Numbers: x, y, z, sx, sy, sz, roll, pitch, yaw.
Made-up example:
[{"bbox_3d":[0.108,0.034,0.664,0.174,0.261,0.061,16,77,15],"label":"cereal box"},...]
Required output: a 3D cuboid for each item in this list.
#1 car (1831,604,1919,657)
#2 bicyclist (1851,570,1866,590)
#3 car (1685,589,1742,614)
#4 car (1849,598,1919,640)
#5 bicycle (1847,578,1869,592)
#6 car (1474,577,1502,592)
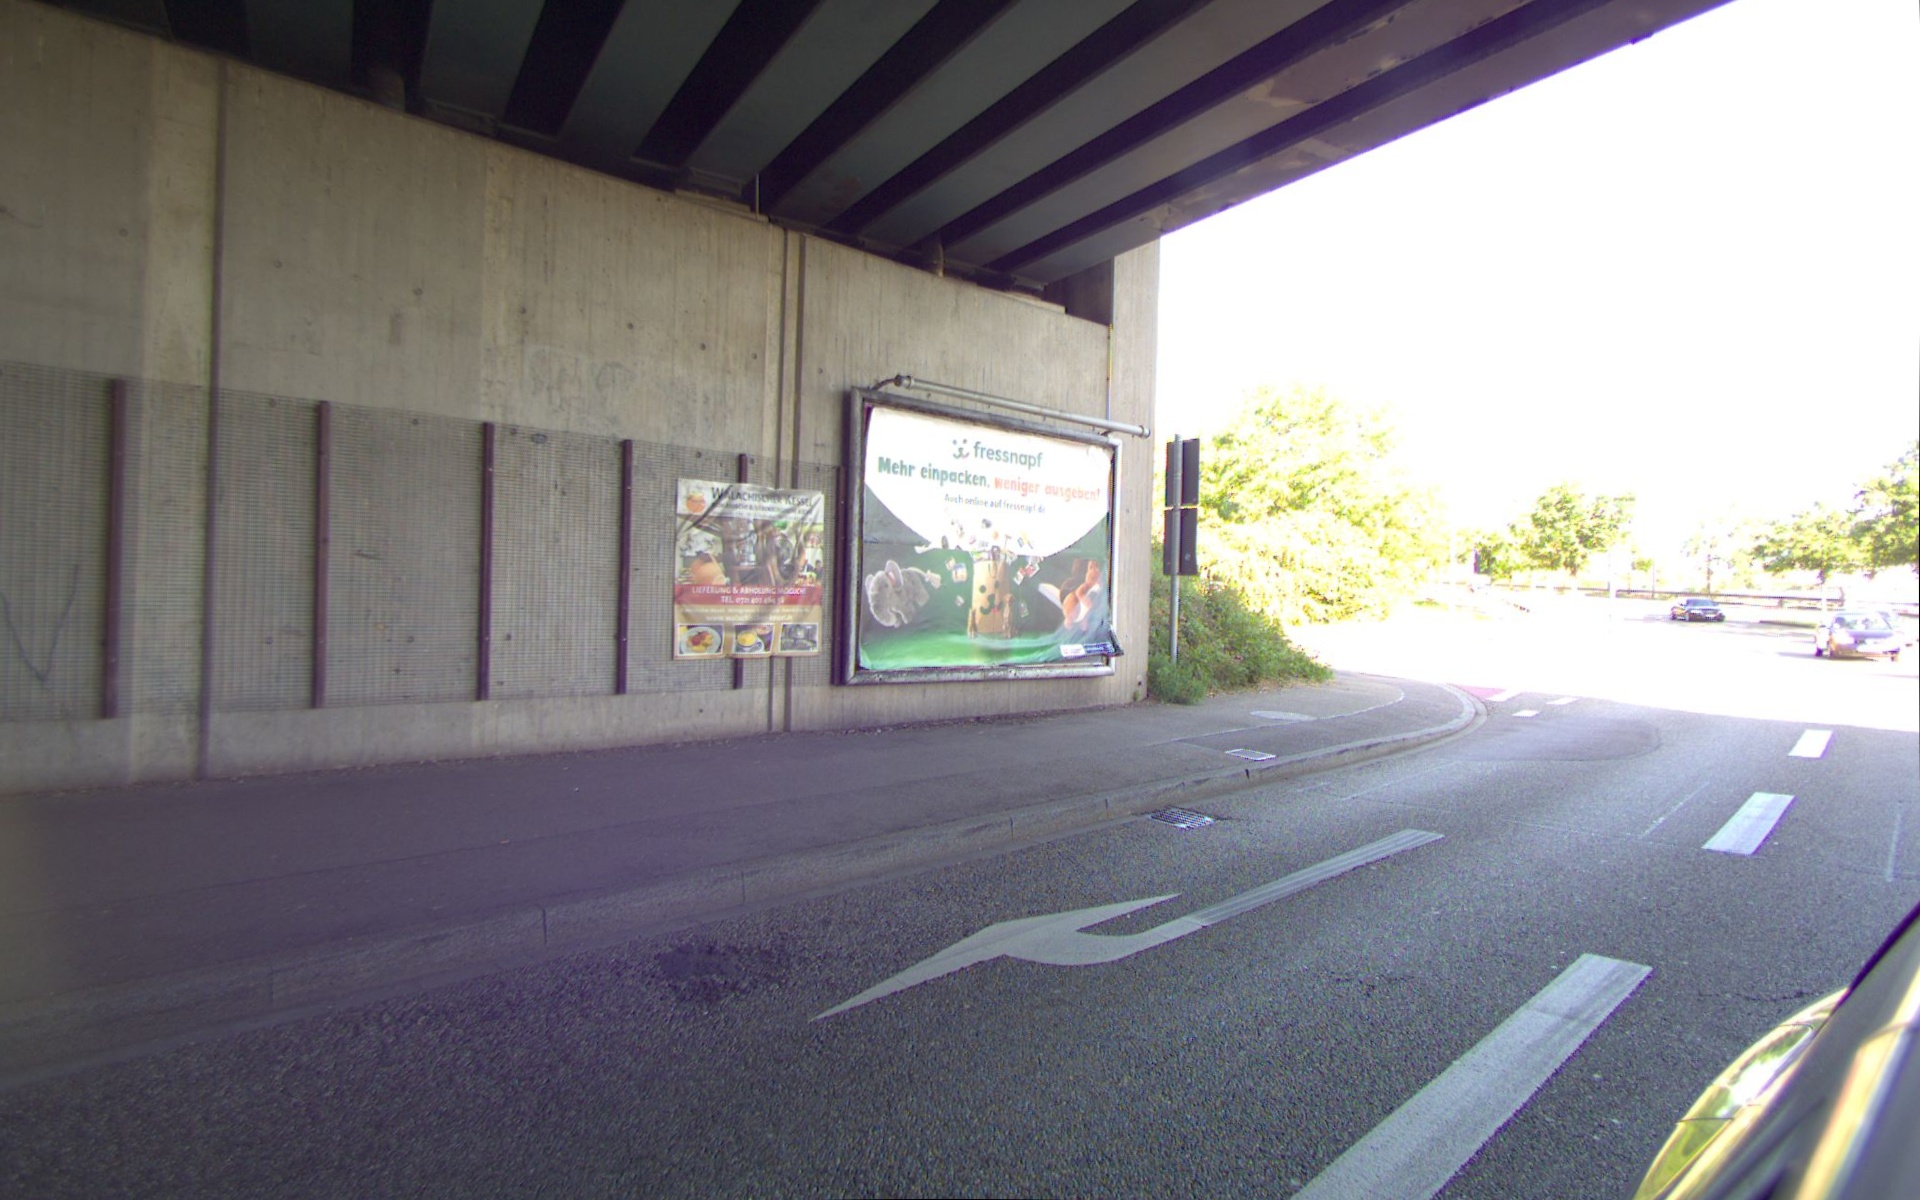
[{"bbox_3d":[27.952,0.872,31.010,1.730,1.438,4.259,1,1,38],"label":"car"},{"bbox_3d":[66.493,-1.472,74.896,0.585,1.445,0.705,0,0,17],"label":"bicyclist"},{"bbox_3d":[45.995,0.078,61.864,1.837,1.498,4.196,0,1,24],"label":"car"},{"bbox_3d":[34.777,0.665,37.722,1.836,1.438,3.935,1,1,33],"label":"car"},{"bbox_3d":[66.533,-1.080,74.999,0.585,1.036,1.741,0,0,17],"label":"bicycle"},{"bbox_3d":[57.888,-1.680,111.043,1.823,1.501,3.962,2,0,15],"label":"car"}]
